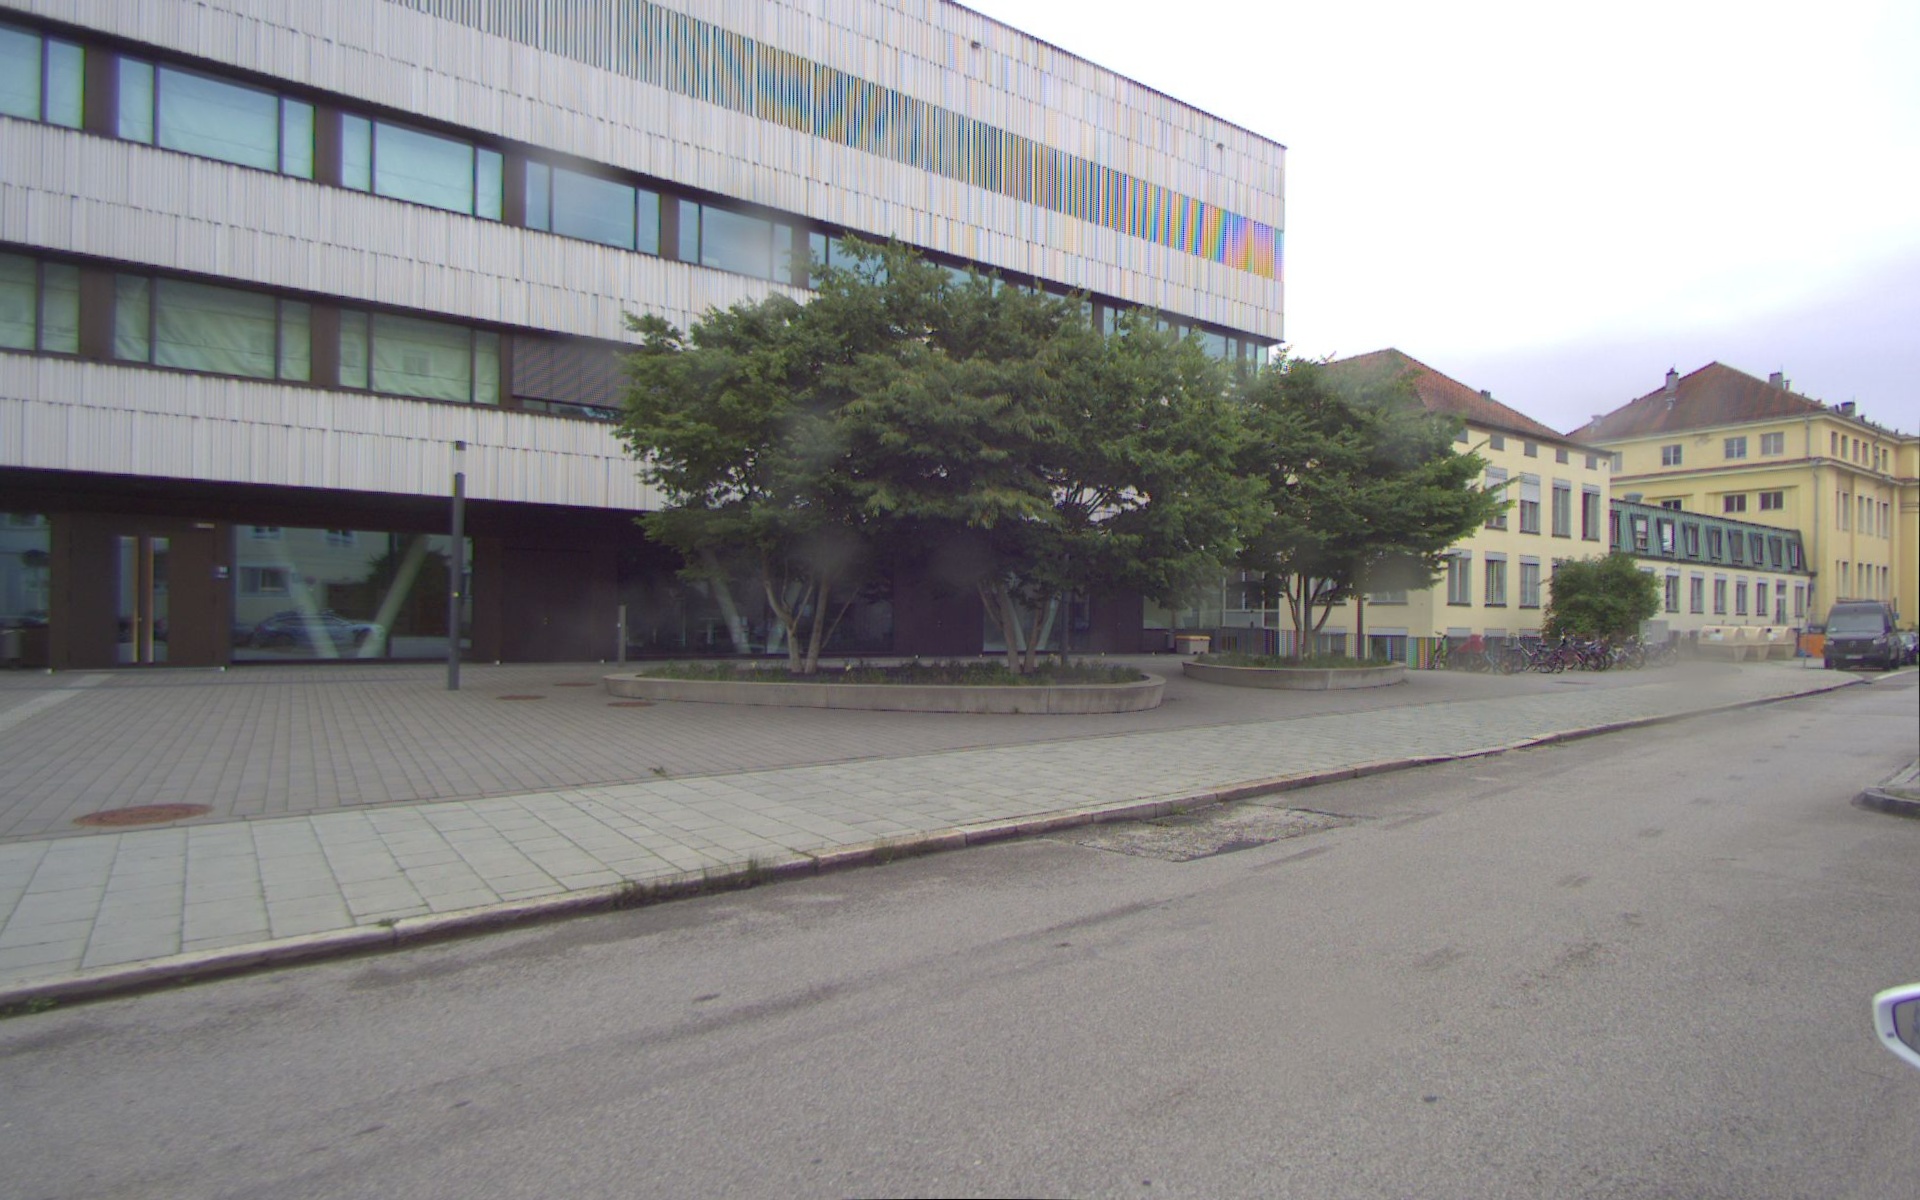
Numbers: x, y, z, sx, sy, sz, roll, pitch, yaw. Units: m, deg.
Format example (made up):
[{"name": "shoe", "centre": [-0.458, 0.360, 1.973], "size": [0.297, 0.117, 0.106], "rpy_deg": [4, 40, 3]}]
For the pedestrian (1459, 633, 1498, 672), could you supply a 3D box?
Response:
[{"name": "pedestrian", "centre": [16.628, 1.660, 32.217], "size": [1.030, 1.178, 0.713], "rpy_deg": [0, 1, -36]}]

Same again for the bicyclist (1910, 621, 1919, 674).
[{"name": "bicyclist", "centre": [37.379, 1.805, 38.794], "size": [0.760, 2.039, 0.762], "rpy_deg": [0, -4, -35]}]

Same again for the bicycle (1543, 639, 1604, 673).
[{"name": "bicycle", "centre": [21.218, 1.929, 34.774], "size": [0.501, 1.047, 1.782], "rpy_deg": [0, 1, -30]}]

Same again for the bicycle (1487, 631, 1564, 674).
[{"name": "bicycle", "centre": [18.547, 1.707, 33.014], "size": [0.777, 1.244, 2.094], "rpy_deg": [0, 1, -30]}]

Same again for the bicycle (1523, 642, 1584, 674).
[{"name": "bicycle", "centre": [19.930, 1.939, 33.757], "size": [0.588, 0.928, 1.666], "rpy_deg": [0, 1, -30]}]

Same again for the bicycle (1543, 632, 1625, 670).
[{"name": "bicycle", "centre": [21.835, 1.773, 35.198], "size": [0.419, 1.222, 2.541], "rpy_deg": [0, -1, -30]}]

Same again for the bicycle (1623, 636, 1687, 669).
[{"name": "bicycle", "centre": [26.890, 2.020, 38.894], "size": [0.669, 1.107, 1.895], "rpy_deg": [0, 1, -30]}]

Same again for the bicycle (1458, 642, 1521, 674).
[{"name": "bicycle", "centre": [16.429, 1.788, 31.210], "size": [0.434, 0.874, 1.708], "rpy_deg": [0, 1, -34]}]

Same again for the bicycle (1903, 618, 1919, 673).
[{"name": "bicycle", "centre": [37.185, 1.718, 38.627], "size": [2.819, 2.040, 0.743], "rpy_deg": [0, -2, -35]}]

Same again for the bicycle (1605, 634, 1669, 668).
[{"name": "bicycle", "centre": [25.565, 1.905, 37.959], "size": [0.566, 1.147, 1.947], "rpy_deg": [0, 1, -30]}]

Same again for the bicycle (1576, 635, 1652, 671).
[{"name": "bicycle", "centre": [23.684, 1.892, 36.425], "size": [0.575, 1.150, 2.299], "rpy_deg": [0, 1, -30]}]

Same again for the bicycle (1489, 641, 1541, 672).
[{"name": "bicycle", "centre": [17.435, 1.769, 31.586], "size": [0.434, 0.874, 1.363], "rpy_deg": [0, 1, -34]}]

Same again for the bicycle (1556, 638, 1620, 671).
[{"name": "bicycle", "centre": [22.249, 1.908, 35.623], "size": [0.533, 1.043, 1.857], "rpy_deg": [0, 1, -30]}]

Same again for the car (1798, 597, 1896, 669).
[{"name": "car", "centre": [36.329, 1.373, 41.085], "size": [5.910, 2.750, 2.400], "rpy_deg": [3, -3, -43]}]
